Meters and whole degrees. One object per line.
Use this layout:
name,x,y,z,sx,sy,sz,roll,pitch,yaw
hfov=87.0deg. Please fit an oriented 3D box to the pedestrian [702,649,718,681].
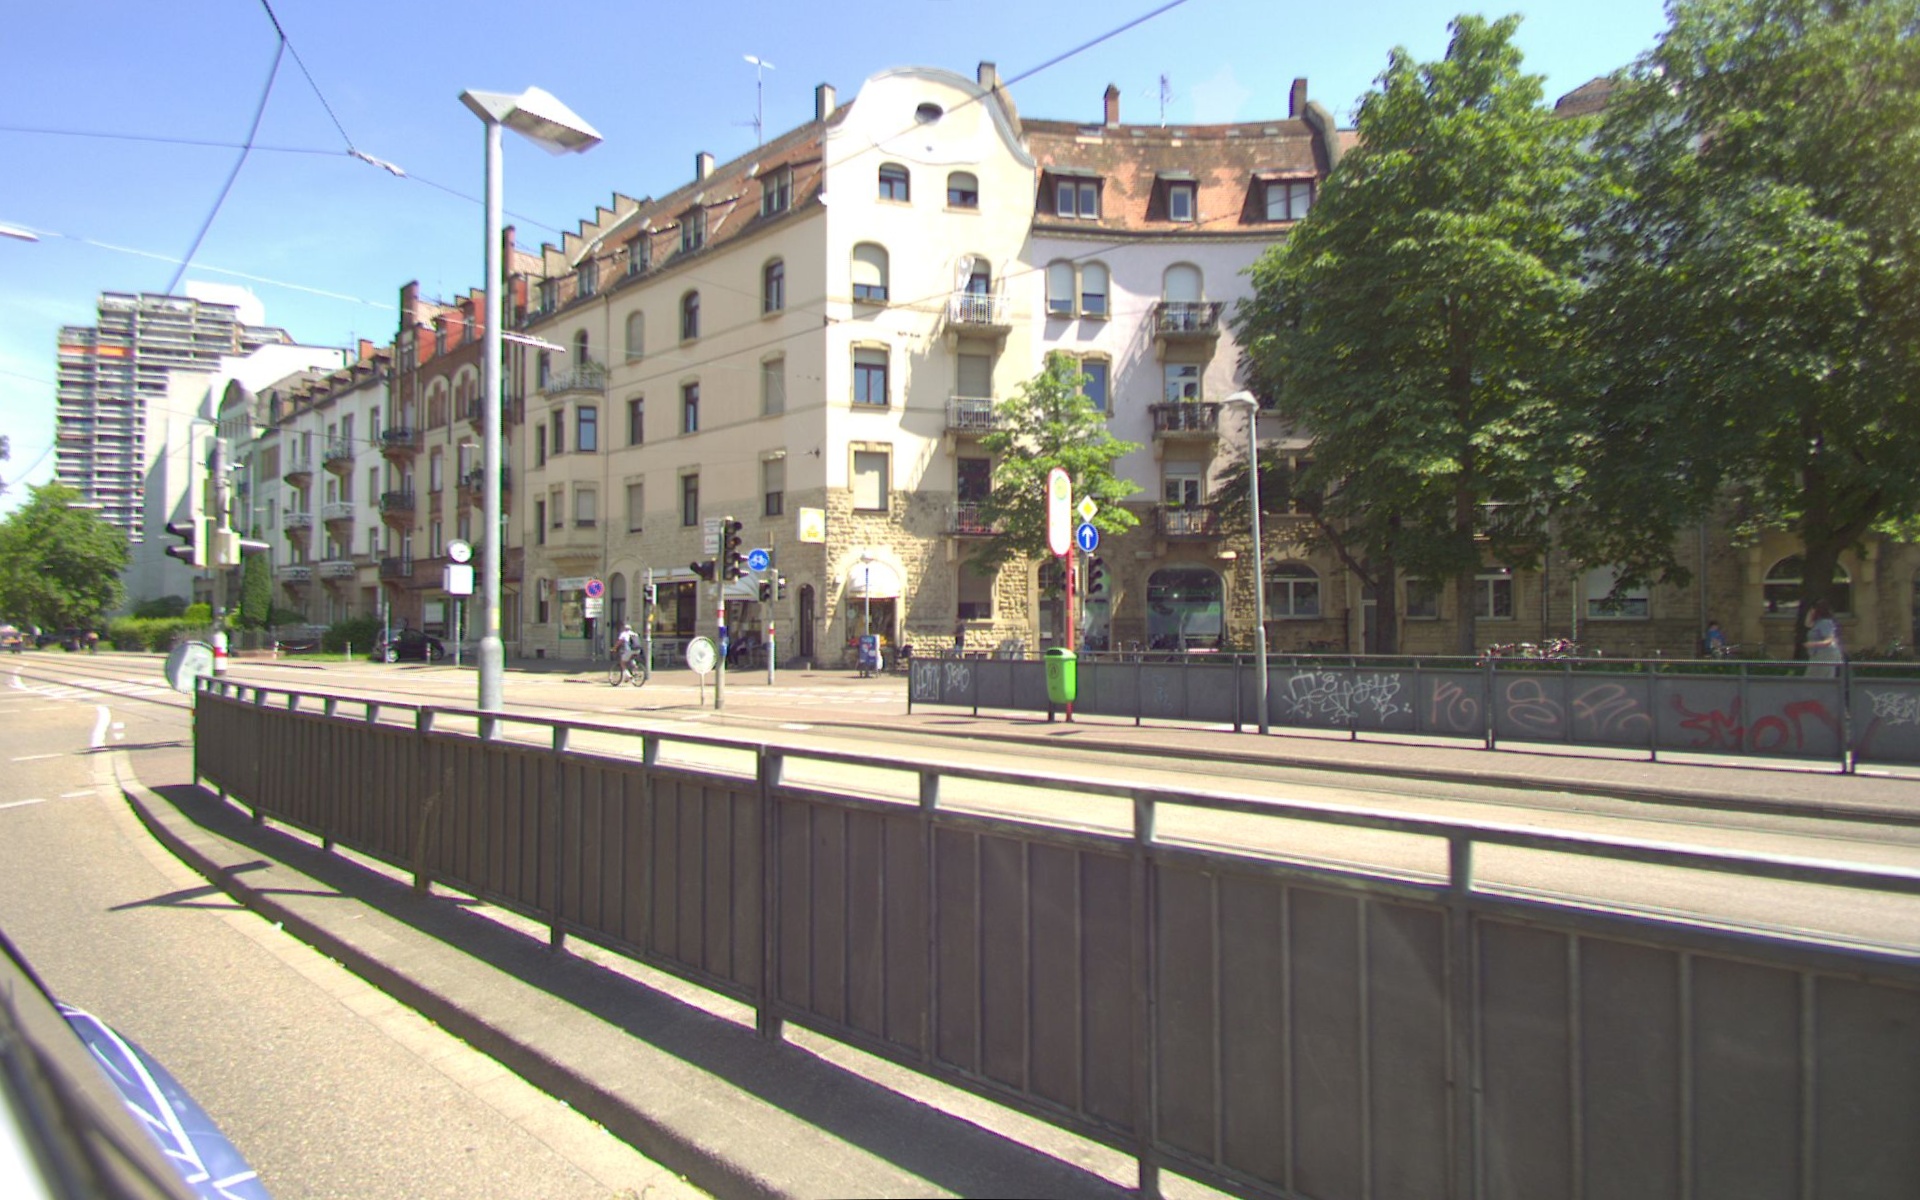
pedestrian,-8.669,2.249,35.083,0.405,1.097,0.351,-2,-2,37

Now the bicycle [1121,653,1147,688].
bicycle,5.225,2.099,30.483,0.285,0.981,1.675,0,-1,-8

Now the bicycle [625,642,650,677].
bicycle,-12.160,2.231,38.129,0.447,1.234,2.086,0,-2,-30

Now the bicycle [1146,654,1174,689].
bicycle,6.048,2.164,30.681,0.285,0.981,1.675,0,-1,-8

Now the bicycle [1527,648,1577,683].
bicycle,17.133,1.886,29.315,0.403,0.963,1.493,0,-1,-8

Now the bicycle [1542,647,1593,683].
bicycle,17.612,1.877,29.368,0.403,0.963,1.492,0,-1,-7

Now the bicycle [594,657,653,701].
bicycle,-9.369,2.171,28.157,1.976,1.166,0.622,-3,-3,40

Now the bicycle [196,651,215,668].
bicycle,-44.650,3.503,59.866,1.953,0.956,0.457,-3,-3,40

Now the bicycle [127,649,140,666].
bicycle,-58.591,4.092,71.743,1.931,1.173,0.336,-2,-2,41

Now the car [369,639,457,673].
car,-25.509,2.588,47.244,1.530,1.483,3.316,-3,-2,44

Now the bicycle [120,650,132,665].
bicycle,-60.099,4.158,72.935,1.727,1.077,0.336,-2,-2,40

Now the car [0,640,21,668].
car,-69.547,3.832,72.843,4.812,1.952,1.827,-1,-4,36

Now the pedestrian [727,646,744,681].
pedestrian,-7.676,2.165,34.587,0.405,1.157,0.401,-2,-2,37

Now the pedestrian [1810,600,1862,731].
pedestrian,12.946,0.952,14.957,0.494,1.893,0.504,-2,-2,45

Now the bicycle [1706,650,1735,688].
bicycle,20.880,1.885,27.802,0.407,0.963,1.475,-1,-2,29

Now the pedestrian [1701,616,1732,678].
pedestrian,22.513,1.389,30.120,0.625,1.790,0.603,-2,-2,44

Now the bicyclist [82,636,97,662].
bicyclist,-56.326,3.163,65.498,0.579,1.676,0.604,-3,-4,40

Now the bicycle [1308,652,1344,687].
bicycle,11.086,2.083,30.703,0.285,0.981,1.675,0,-1,-8

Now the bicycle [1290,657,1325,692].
bicycle,10.510,2.234,30.650,0.285,0.981,1.675,0,-1,-8

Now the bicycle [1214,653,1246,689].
bicycle,8.091,2.119,30.400,0.285,0.981,1.675,0,-1,-8

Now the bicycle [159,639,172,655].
bicycle,-52.296,3.103,66.607,1.898,1.054,0.286,-2,-2,41

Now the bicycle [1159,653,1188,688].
bicycle,6.492,2.125,30.814,0.285,0.981,1.675,0,-1,-8

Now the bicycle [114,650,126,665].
bicycle,-61.559,4.197,74.168,1.727,1.077,0.336,-2,-2,40

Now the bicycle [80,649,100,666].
bicycle,-56.346,3.692,65.511,2.185,1.083,0.637,-2,-4,40

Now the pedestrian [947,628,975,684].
pedestrian,0.031,1.765,32.074,0.727,1.744,0.539,-2,-2,38

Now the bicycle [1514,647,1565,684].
bicycle,16.715,1.881,29.216,0.285,0.981,1.675,0,-1,-8

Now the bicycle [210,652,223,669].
bicycle,-42.147,3.440,57.364,1.613,0.924,0.250,-3,-3,40

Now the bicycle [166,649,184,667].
bicycle,-49.985,3.682,64.449,2.045,1.105,0.487,-3,-3,40

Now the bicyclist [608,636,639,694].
bicyclist,-9.344,1.801,28.138,0.585,1.586,0.602,-2,-2,40
